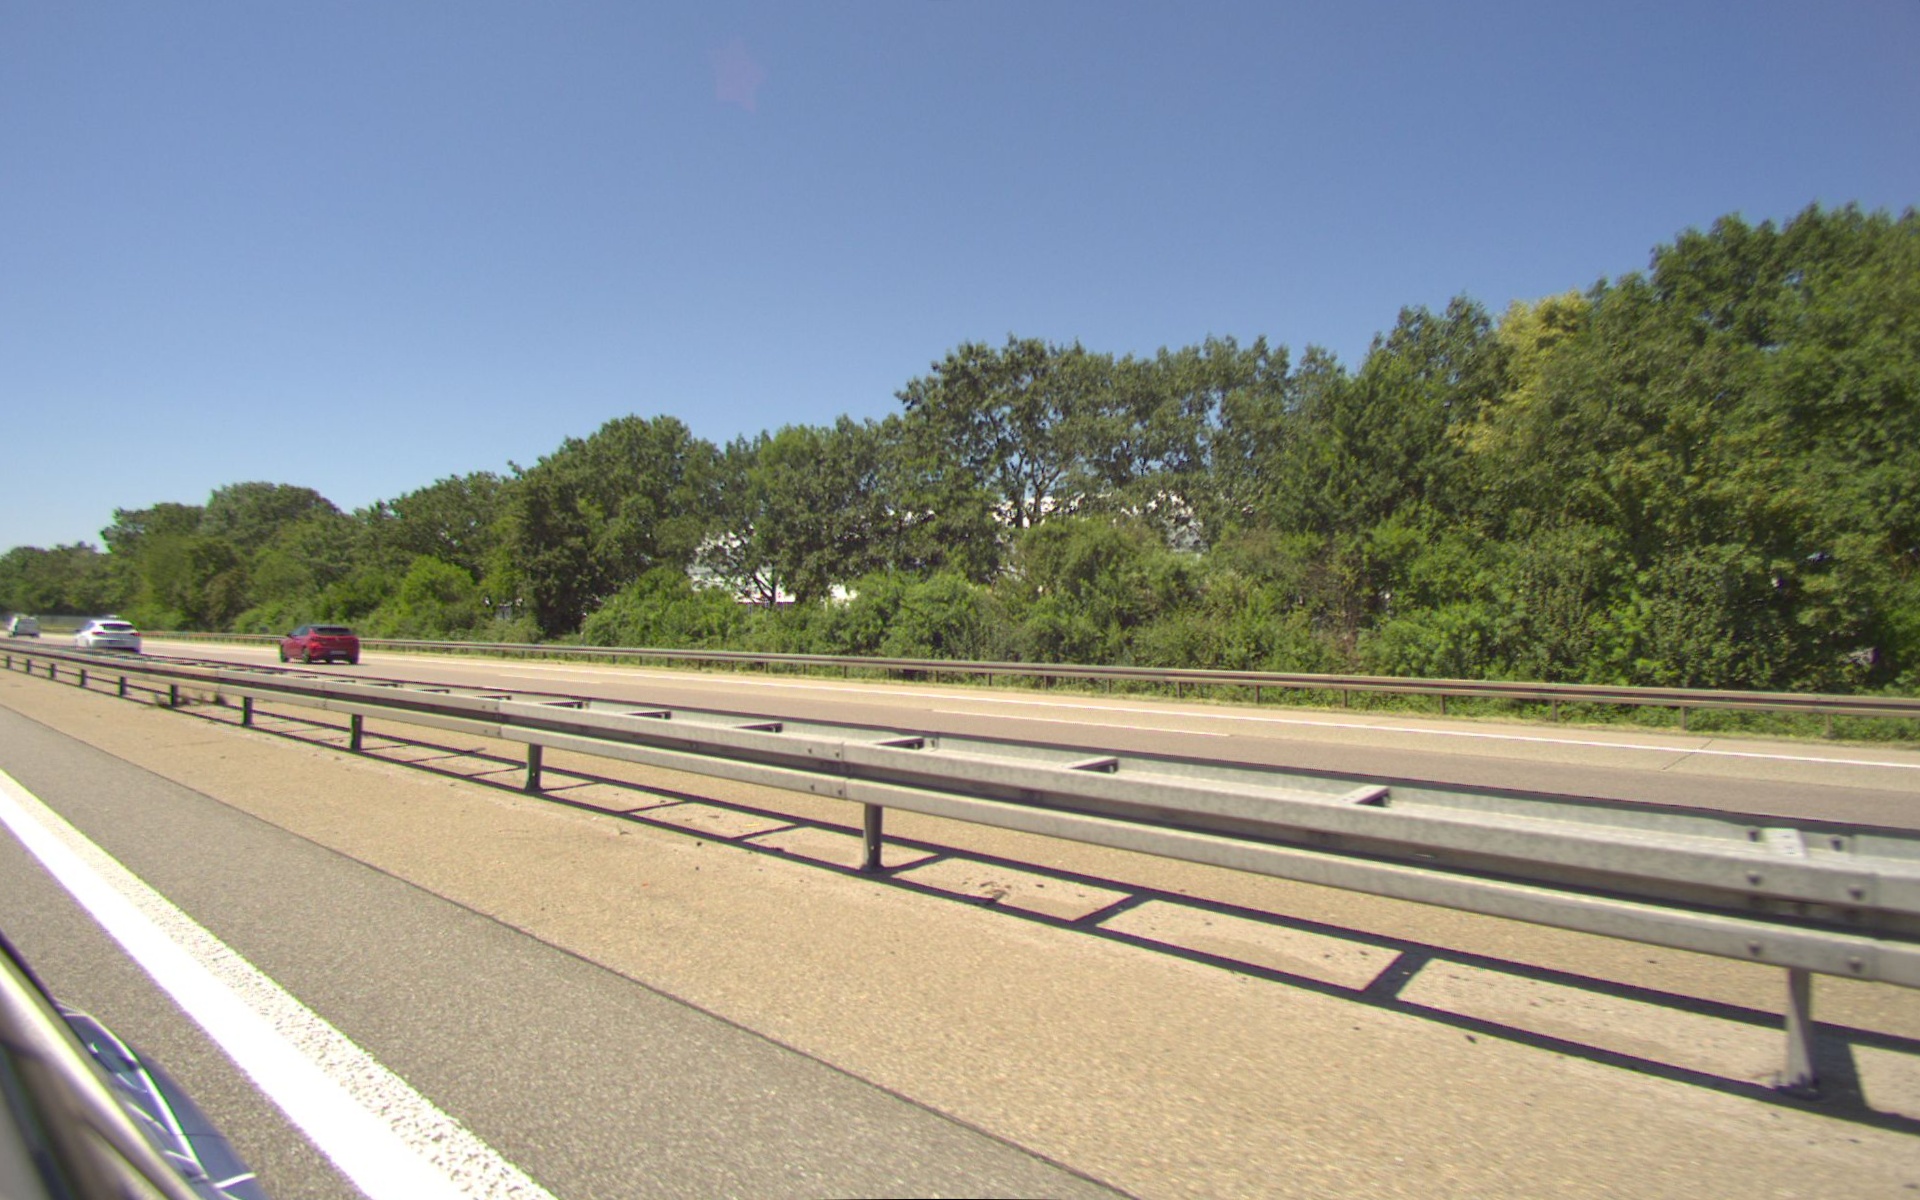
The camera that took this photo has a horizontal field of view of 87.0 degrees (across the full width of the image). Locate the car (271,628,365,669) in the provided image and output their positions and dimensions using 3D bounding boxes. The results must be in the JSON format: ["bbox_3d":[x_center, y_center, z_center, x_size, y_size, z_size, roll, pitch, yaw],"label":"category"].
[{"bbox_3d":[-23.839,1.798,37.533,4.107,1.428,1.755,-2,-4,40],"label":"car"}]

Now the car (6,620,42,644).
[{"bbox_3d":[-81.009,2.758,87.602,4.378,2.029,1.769,-1,-4,42],"label":"car"}]

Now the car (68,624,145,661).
[{"bbox_3d":[-35.387,1.752,41.945,3.894,1.433,1.702,-1,-3,40],"label":"car"}]
